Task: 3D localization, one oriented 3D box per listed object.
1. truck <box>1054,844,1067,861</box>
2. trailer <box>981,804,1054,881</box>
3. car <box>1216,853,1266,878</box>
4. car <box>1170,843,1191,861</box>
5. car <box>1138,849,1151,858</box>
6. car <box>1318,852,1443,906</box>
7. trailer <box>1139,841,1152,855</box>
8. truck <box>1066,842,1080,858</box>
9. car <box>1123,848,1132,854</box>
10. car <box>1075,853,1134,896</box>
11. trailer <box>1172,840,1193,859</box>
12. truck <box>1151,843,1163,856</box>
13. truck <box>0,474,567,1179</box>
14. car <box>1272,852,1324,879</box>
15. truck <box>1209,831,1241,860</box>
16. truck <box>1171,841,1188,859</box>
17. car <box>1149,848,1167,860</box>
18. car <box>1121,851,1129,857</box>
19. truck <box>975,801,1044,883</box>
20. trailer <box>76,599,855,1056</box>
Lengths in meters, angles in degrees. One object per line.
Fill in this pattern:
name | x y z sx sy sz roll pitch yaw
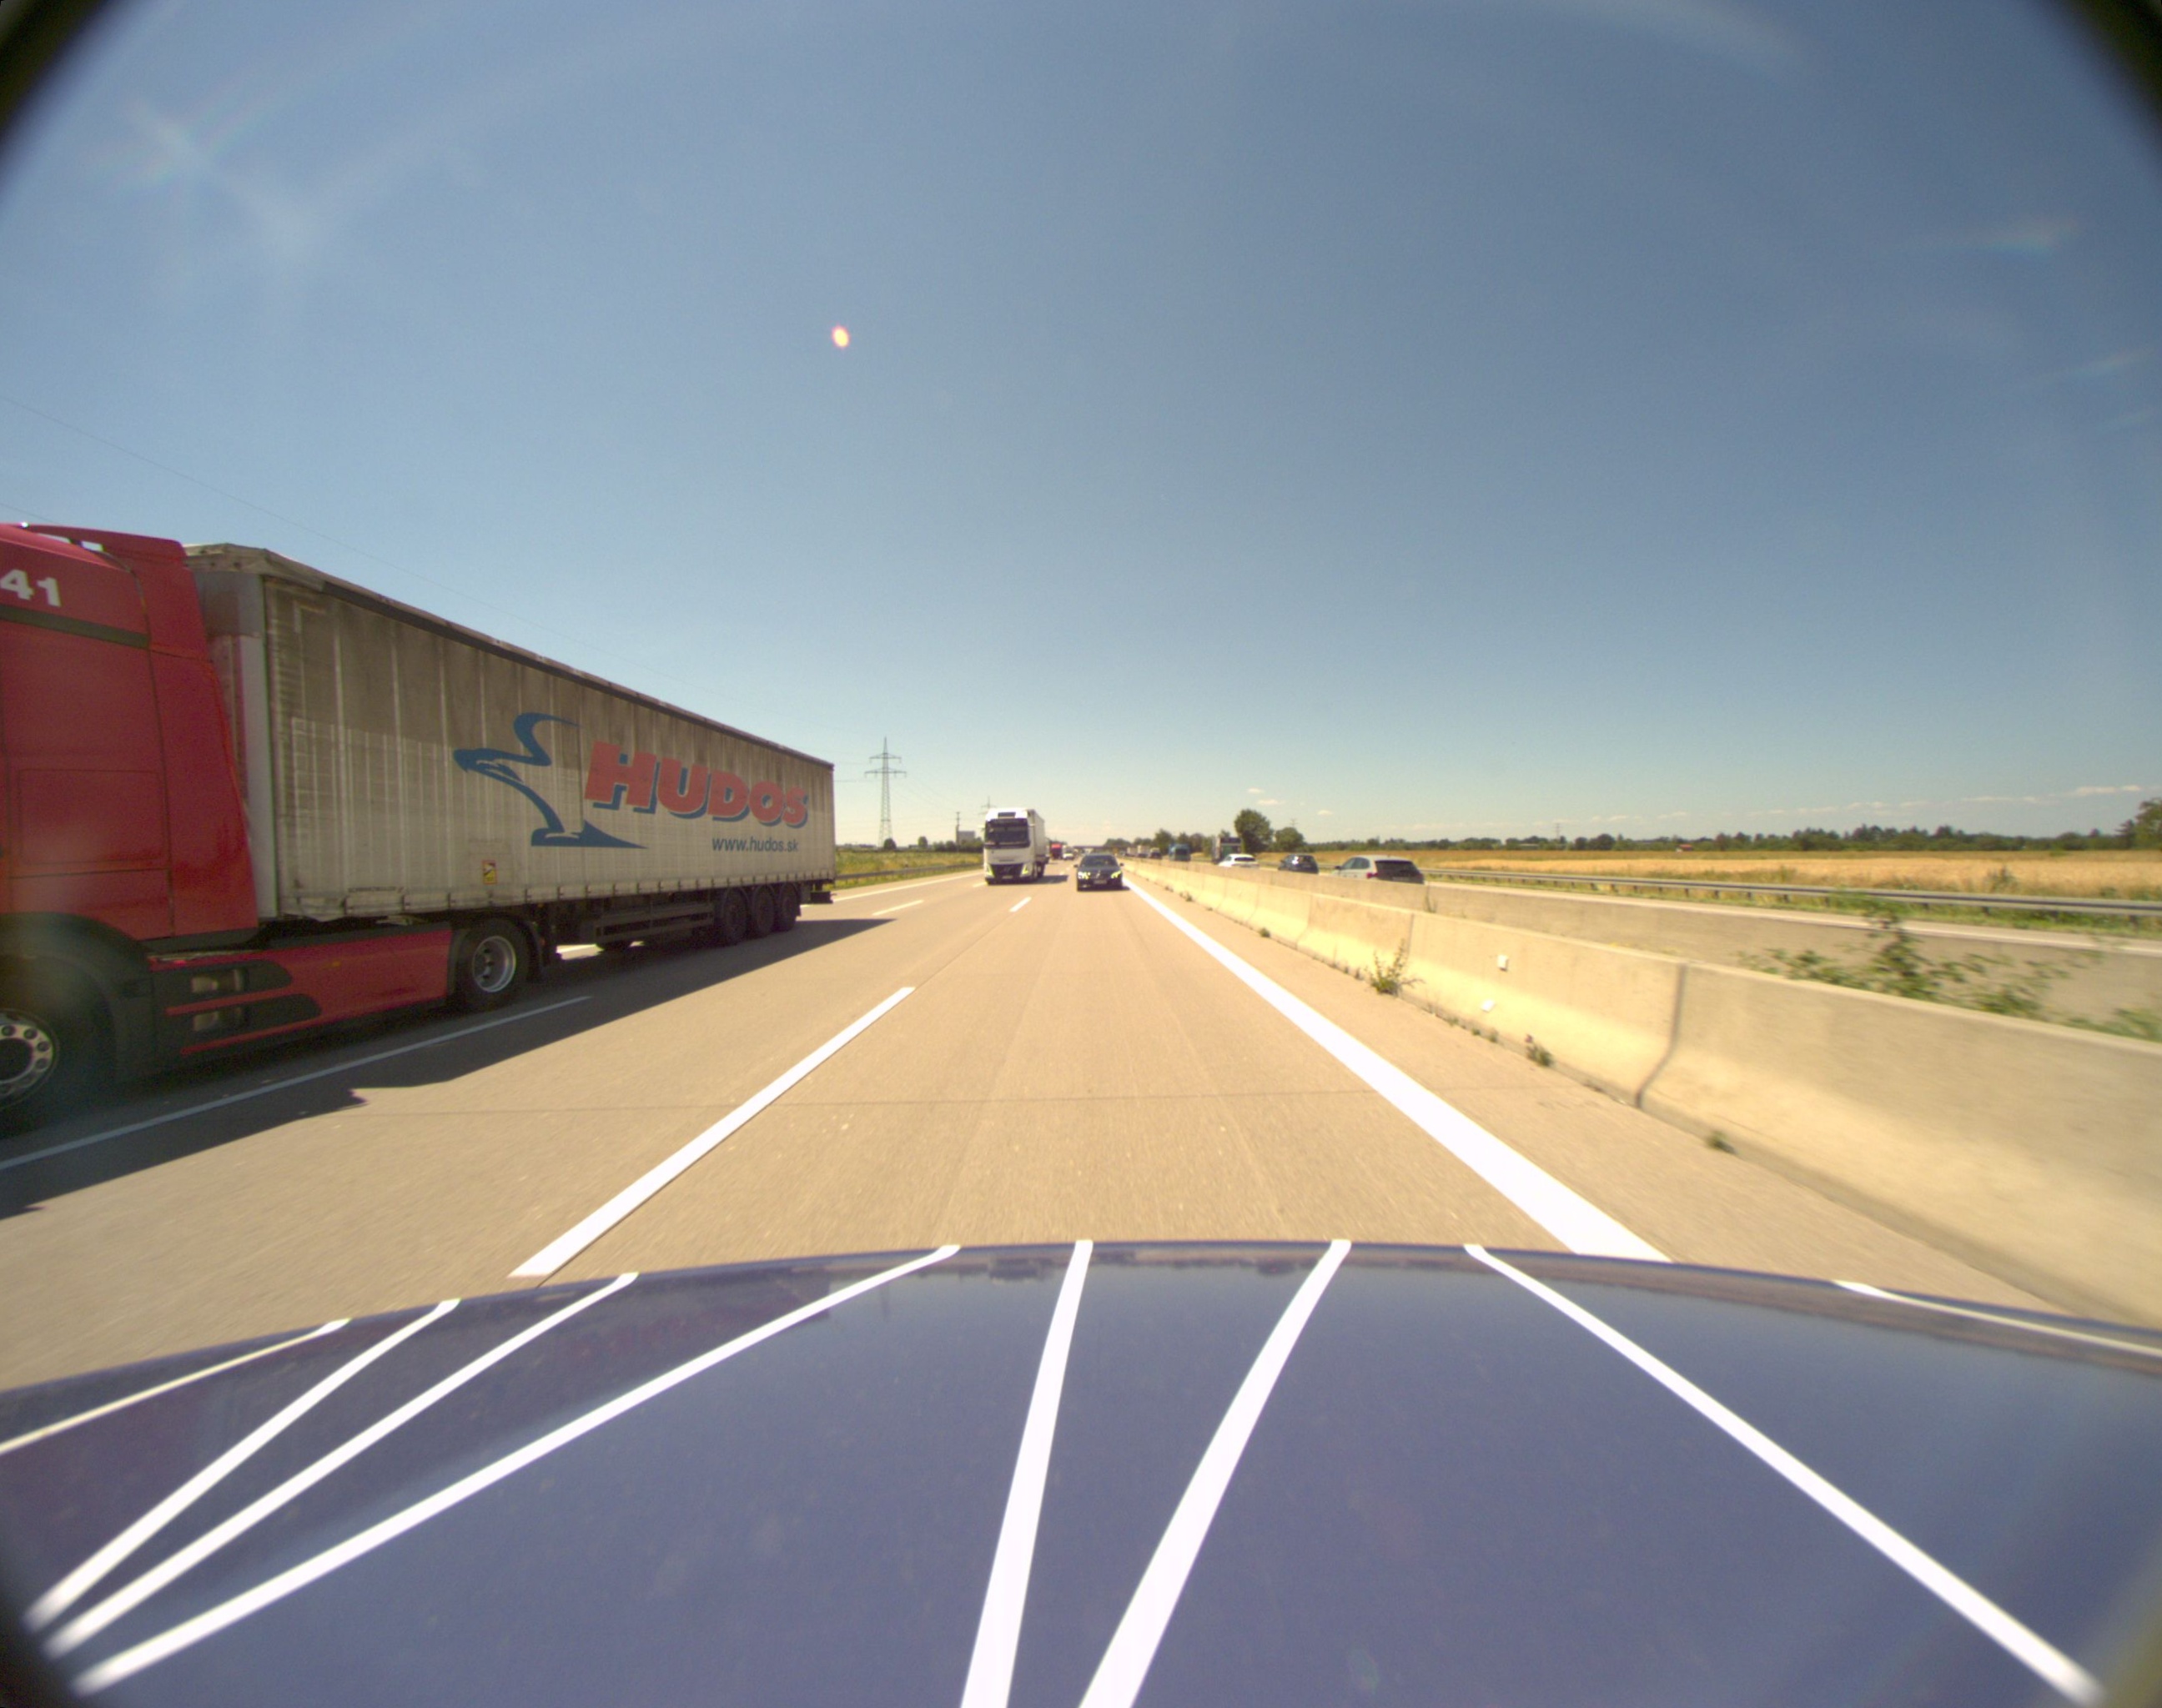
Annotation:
truck | -5.320 -0.471 197.675 2.855 4.297 10.886 -2 0 1
trailer | -3.639 -0.650 47.868 3.025 4.037 14.206 -2 0 1
car | 9.365 0.663 44.783 1.998 1.356 4.670 1 0 1
car | 14.132 -0.299 108.002 2.154 2.536 6.463 0 1 0
car | 11.310 -0.128 134.787 1.945 1.549 4.888 1 1 0
car | 8.979 0.671 23.266 1.998 1.476 4.710 0 0 1
trailer | 19.754 -1.860 234.370 2.916 3.886 12.510 -2 0 1
truck | -1.802 -0.953 169.331 2.784 3.328 7.812 -2 0 0
car | 11.376 -0.651 184.609 1.784 1.340 4.452 -3 0 -1
car | 0.804 0.708 29.019 1.999 1.462 6.347 0 0 0
trailer | 18.869 -0.798 141.700 2.521 3.253 9.252 -2 0 0
truck | 19.412 -1.144 195.468 2.328 3.066 6.977 -2 0 0
truck | -7.686 -0.134 5.925 2.913 4.077 6.271 -2 0 0
car | 13.519 0.700 47.624 1.998 1.551 4.512 2 0 1
truck | 17.959 -1.033 95.007 2.561 3.492 7.884 0 0 0
truck | 18.867 -0.753 146.008 2.490 3.290 5.263 -2 0 0
car | 10.665 0.026 105.618 1.998 1.567 4.848 -2 0 1
car | 12.798 -0.028 221.734 2.144 1.669 5.644 0 0 0
truck | -3.766 -0.600 41.094 2.992 4.039 5.477 -2 0 1
trailer | -7.645 -0.257 13.722 2.881 4.077 13.511 -2 0 0
